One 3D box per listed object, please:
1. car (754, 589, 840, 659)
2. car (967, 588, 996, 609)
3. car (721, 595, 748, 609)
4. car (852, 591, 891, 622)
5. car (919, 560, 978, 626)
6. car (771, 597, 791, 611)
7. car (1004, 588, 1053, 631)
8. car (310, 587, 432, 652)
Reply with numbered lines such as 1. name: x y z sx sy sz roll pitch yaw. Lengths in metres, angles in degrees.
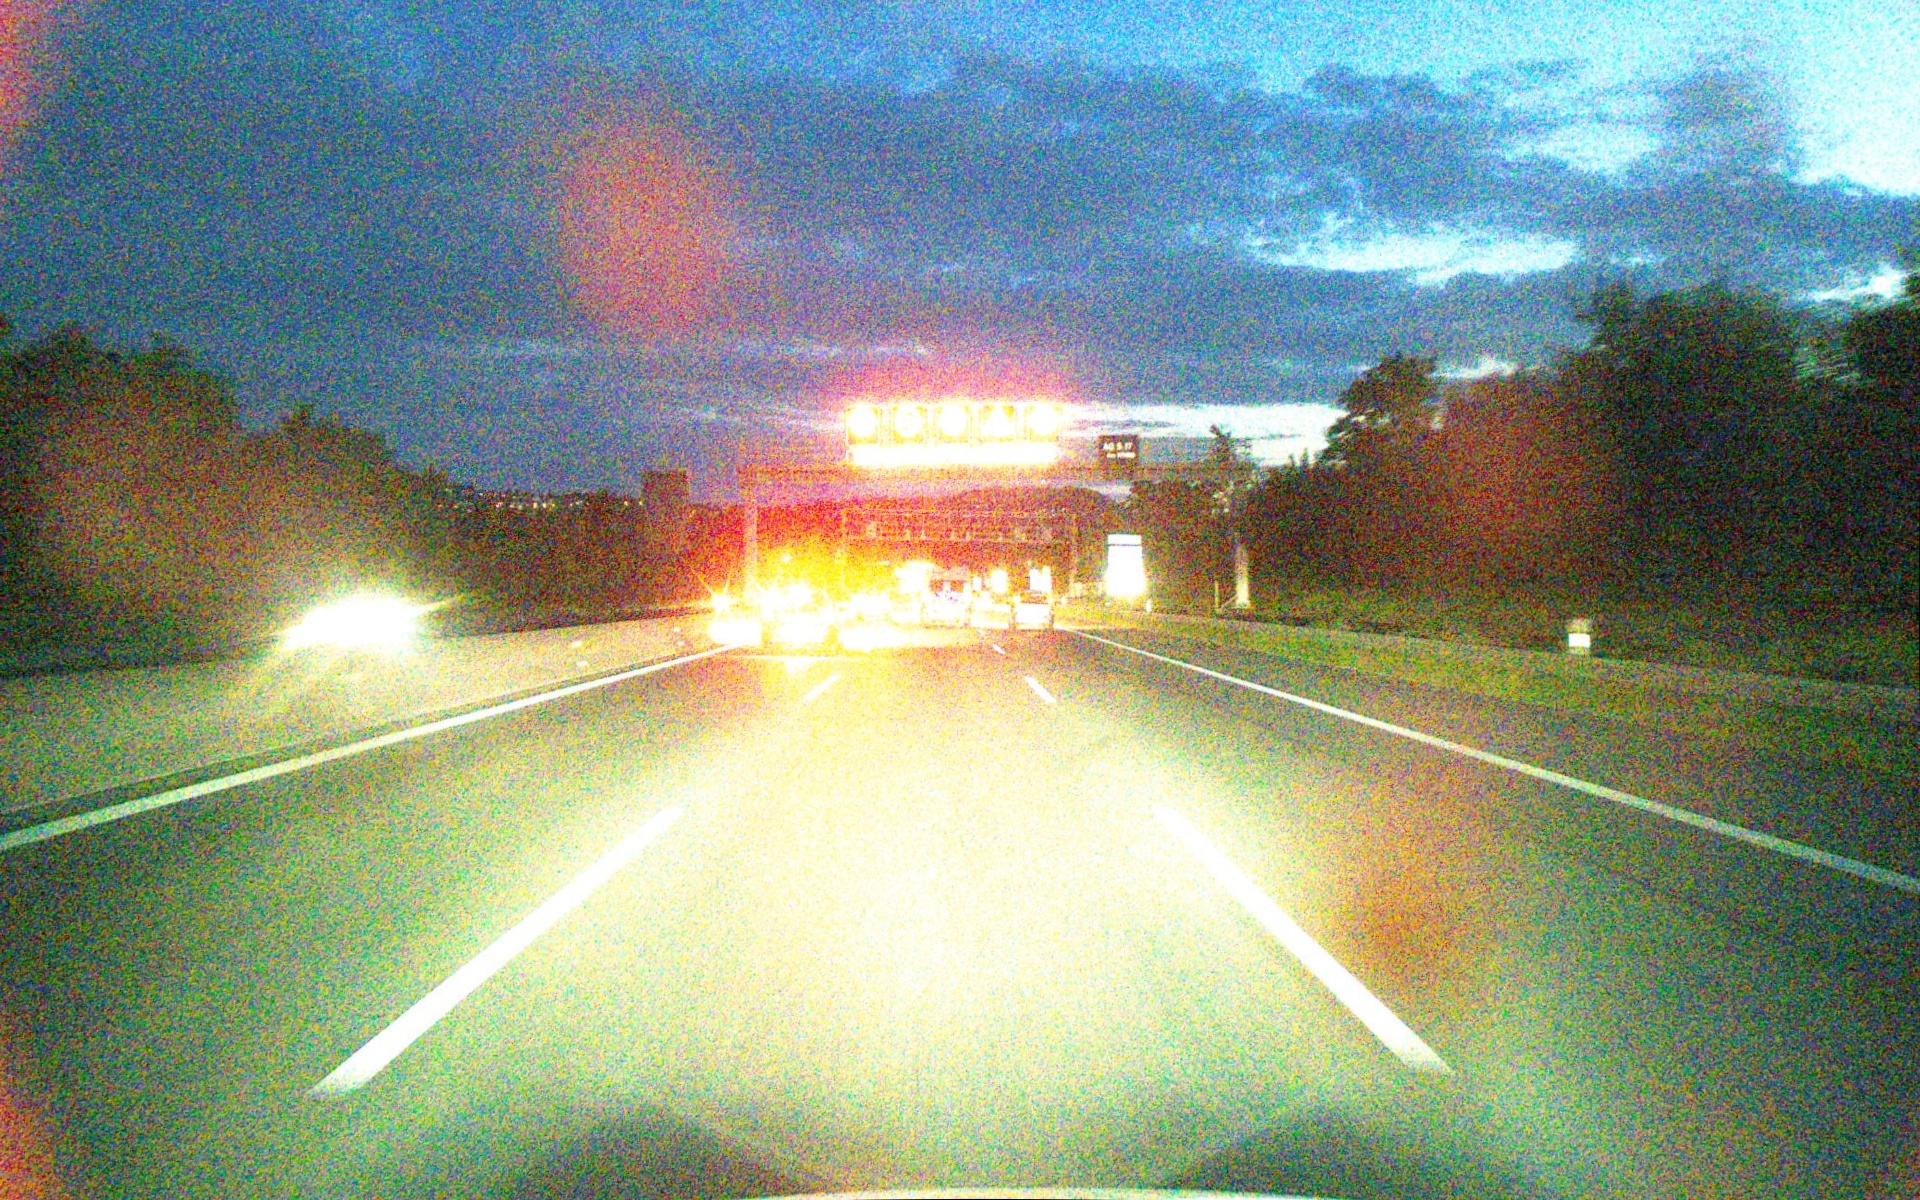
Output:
1. car: -3.712 0.522 38.167 1.758 1.494 3.771 1 1 -2
2. car: 1.671 -0.101 129.088 2.119 1.591 4.722 0 0 -1
3. car: -21.029 0.165 154.409 1.864 1.305 4.349 -1 0 -1
4. car: -4.336 0.312 81.363 1.709 1.465 4.367 0 1 0
5. car: -0.459 -0.298 67.727 2.303 2.579 5.700 0 1 0
6. car: -21.289 0.506 196.921 1.924 1.564 5.184 -1 0 0
7. car: 2.679 0.353 65.086 1.613 1.624 4.508 1 0 -1
8. car: -15.890 0.487 44.879 1.865 1.646 4.402 -1 0 -2
